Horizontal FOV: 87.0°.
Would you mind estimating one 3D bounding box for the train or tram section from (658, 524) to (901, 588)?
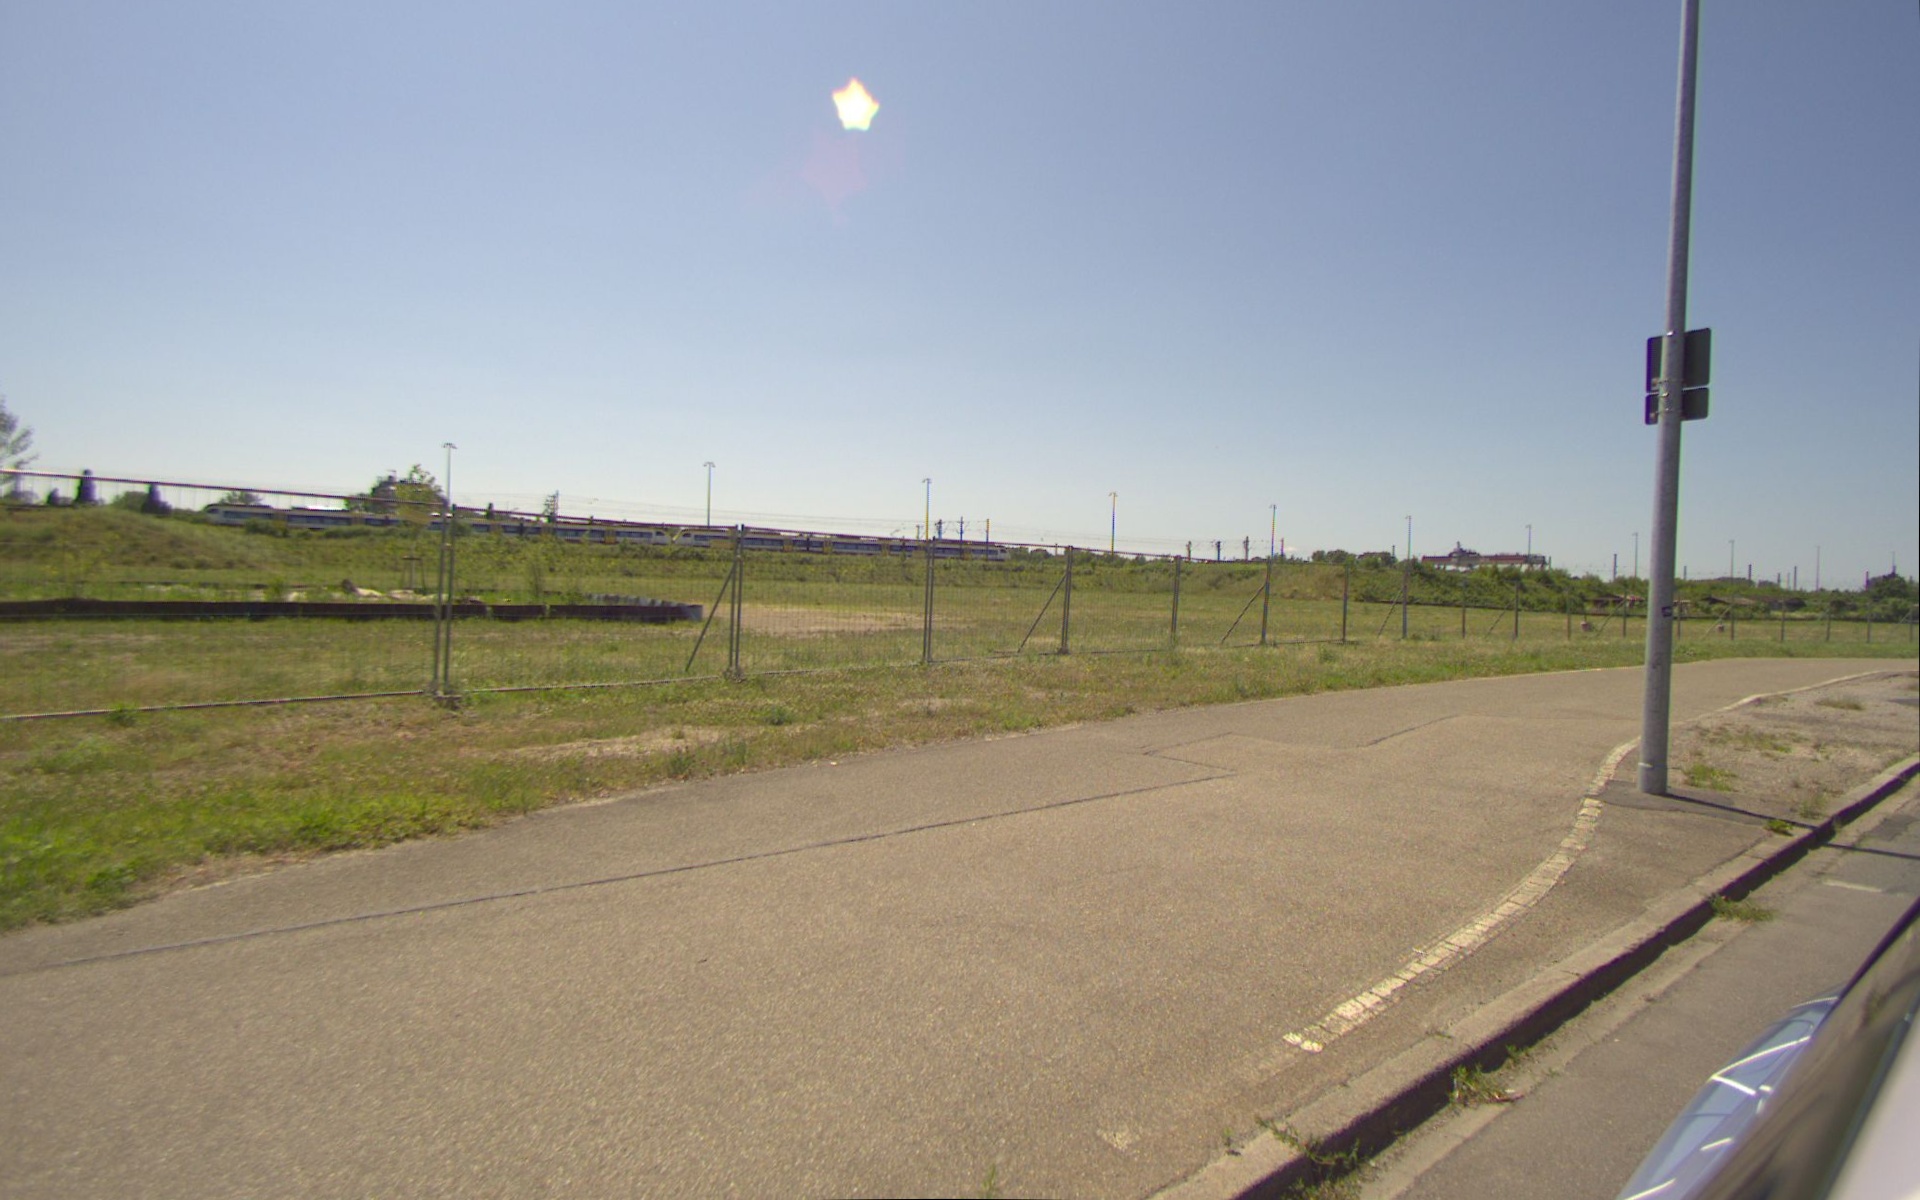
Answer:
[{"bbox_3d":[-33.227,-7.886,189.855,43.858,10.049,9.618,1,1,-26],"label":"train or tram section"}]

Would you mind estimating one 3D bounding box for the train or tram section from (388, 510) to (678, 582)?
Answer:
[{"bbox_3d":[-71.227,-8.723,171.492,43.858,10.049,9.618,1,1,-26],"label":"train or tram section"}]

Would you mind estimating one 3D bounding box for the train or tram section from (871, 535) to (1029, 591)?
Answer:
[{"bbox_3d":[-1.823,-7.255,204.991,30.566,10.049,9.619,1,1,-25],"label":"train or tram section"}]

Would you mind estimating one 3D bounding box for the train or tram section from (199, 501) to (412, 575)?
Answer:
[{"bbox_3d":[-100.716,-9.283,157.331,26.443,10.049,9.619,1,1,-25],"label":"train or tram section"}]
